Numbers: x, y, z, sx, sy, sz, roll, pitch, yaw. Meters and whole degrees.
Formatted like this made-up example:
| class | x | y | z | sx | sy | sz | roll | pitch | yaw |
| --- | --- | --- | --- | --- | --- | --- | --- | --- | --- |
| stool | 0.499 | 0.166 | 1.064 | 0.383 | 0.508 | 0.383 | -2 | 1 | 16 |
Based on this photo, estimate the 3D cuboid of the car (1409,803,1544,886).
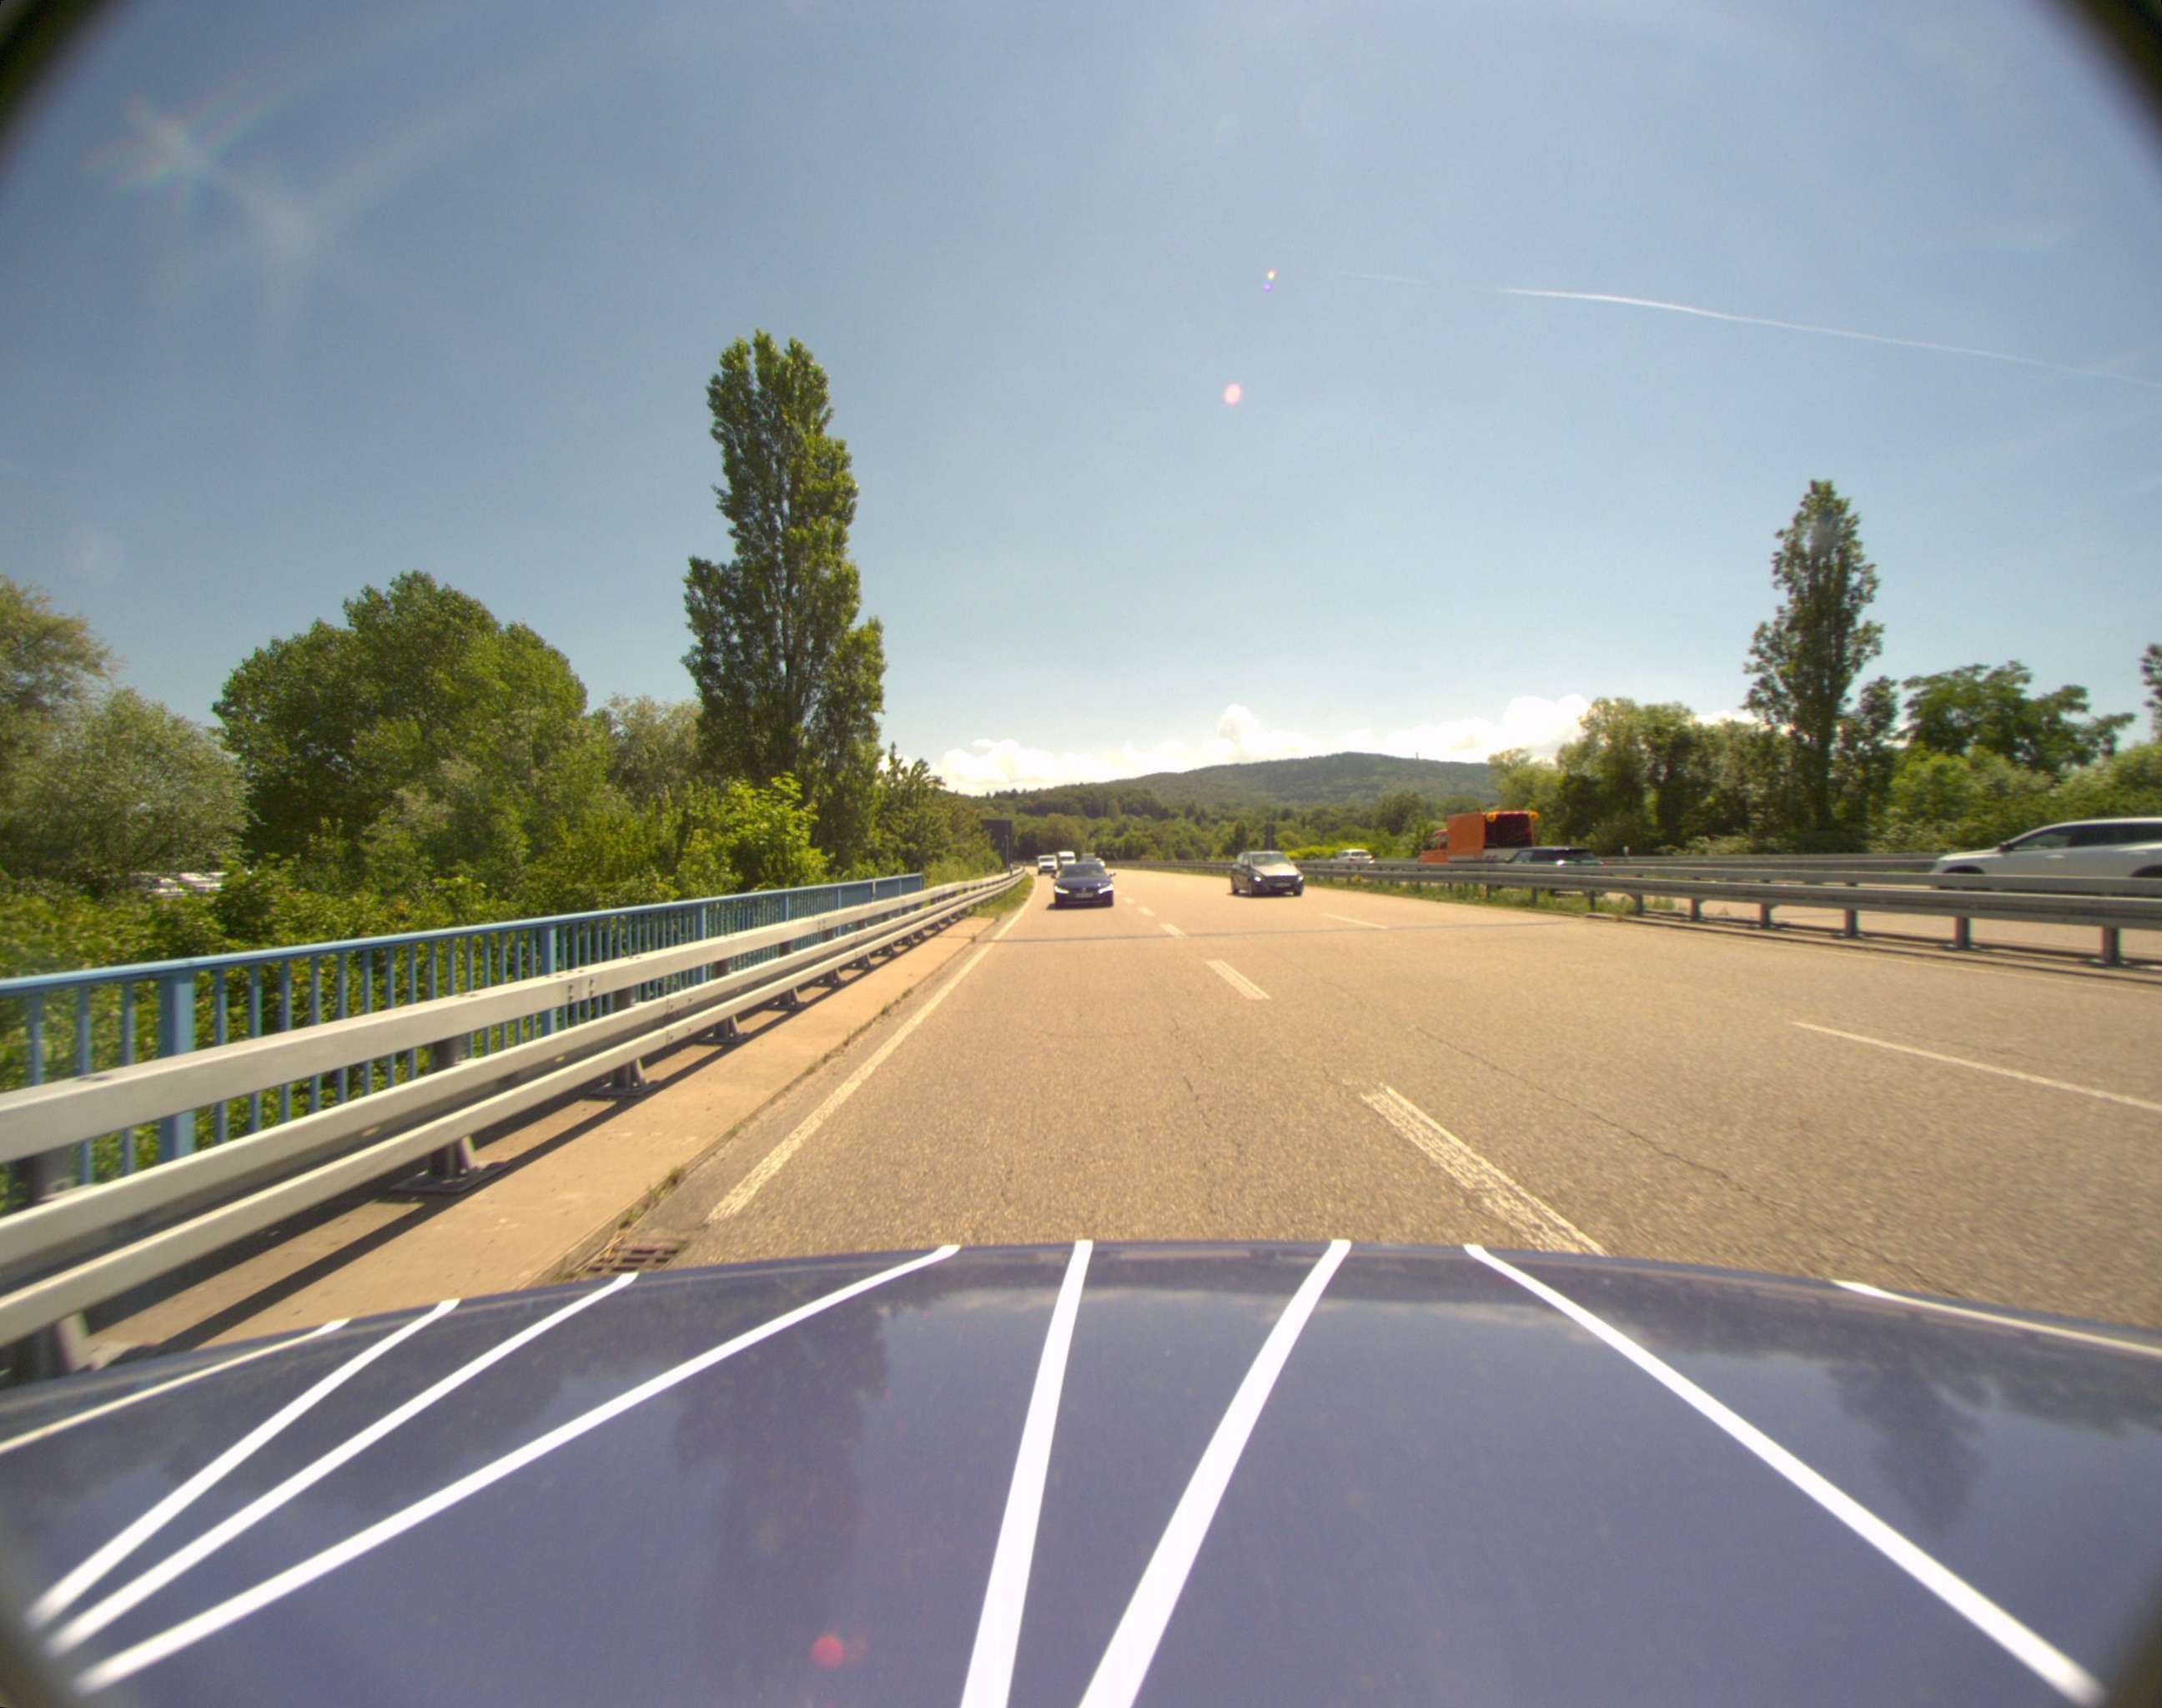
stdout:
| class | x | y | z | sx | sy | sz | roll | pitch | yaw |
| --- | --- | --- | --- | --- | --- | --- | --- | --- | --- |
| car | 17.231 | -0.391 | 33.733 | 2.311 | 3.273 | 7.027 | -1 | 0 | 0 |

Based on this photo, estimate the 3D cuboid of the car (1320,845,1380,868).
| class | x | y | z | sx | sy | sz | roll | pitch | yaw |
| --- | --- | --- | --- | --- | --- | --- | --- | --- | --- |
| car | 17.216 | 0.140 | 48.882 | 1.858 | 1.424 | 4.792 | -1 | 0 | -5 |

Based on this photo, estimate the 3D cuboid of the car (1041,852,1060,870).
| class | x | y | z | sx | sy | sz | roll | pitch | yaw |
| --- | --- | --- | --- | --- | --- | --- | --- | --- | --- |
| car | -3.196 | 0.692 | 79.444 | 1.885 | 1.724 | 4.468 | -2 | 1 | -3 |

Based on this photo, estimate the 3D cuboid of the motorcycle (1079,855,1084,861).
| class | x | y | z | sx | sy | sz | roll | pitch | yaw |
| --- | --- | --- | --- | --- | --- | --- | --- | --- | --- |
| motorcycle | 0.156 | 0.802 | 155.047 | 0.793 | 1.137 | 2.527 | -1 | 1 | -4 |

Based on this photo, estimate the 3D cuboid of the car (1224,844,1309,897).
| class | x | y | z | sx | sy | sz | roll | pitch | yaw |
| --- | --- | --- | --- | --- | --- | --- | --- | --- | --- |
| car | 6.580 | 0.530 | 27.448 | 1.798 | 1.658 | 4.553 | -3 | 0 | -1 |

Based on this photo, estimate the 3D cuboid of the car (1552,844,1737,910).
| class | x | y | z | sx | sy | sz | roll | pitch | yaw |
| --- | --- | --- | --- | --- | --- | --- | --- | --- | --- |
| car | 13.835 | 0.483 | 18.983 | 1.729 | 1.420 | 3.947 | -1 | 1 | 1 |

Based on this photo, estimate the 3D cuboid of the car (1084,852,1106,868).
| class | x | y | z | sx | sy | sz | roll | pitch | yaw |
| --- | --- | --- | --- | --- | --- | --- | --- | --- | --- |
| car | 1.342 | 0.552 | 74.402 | 1.846 | 1.400 | 4.468 | -2 | 1 | -3 |

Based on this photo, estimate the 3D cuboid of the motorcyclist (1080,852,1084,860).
| class | x | y | z | sx | sy | sz | roll | pitch | yaw |
| --- | --- | --- | --- | --- | --- | --- | --- | --- | --- |
| motorcyclist | 0.141 | 0.412 | 155.028 | 0.793 | 1.425 | 0.767 | -1 | 2 | -4 |

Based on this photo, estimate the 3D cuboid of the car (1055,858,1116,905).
| class | x | y | z | sx | sy | sz | roll | pitch | yaw |
| --- | --- | --- | --- | --- | --- | --- | --- | --- | --- |
| car | 0.252 | 0.897 | 26.715 | 1.845 | 1.399 | 4.471 | -2 | 0 | 4 |

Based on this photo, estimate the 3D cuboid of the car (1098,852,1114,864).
| class | x | y | z | sx | sy | sz | roll | pitch | yaw |
| --- | --- | --- | --- | --- | --- | --- | --- | --- | --- |
| car | 3.267 | 0.494 | 100.965 | 1.846 | 1.400 | 4.468 | -2 | 1 | -1 |

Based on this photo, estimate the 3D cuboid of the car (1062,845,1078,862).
| class | x | y | z | sx | sy | sz | roll | pitch | yaw |
| --- | --- | --- | --- | --- | --- | --- | --- | --- | --- |
| car | -1.475 | -0.091 | 99.297 | 2.008 | 1.988 | 4.578 | -2 | 1 | -1 |

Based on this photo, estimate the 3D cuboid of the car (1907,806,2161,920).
| class | x | y | z | sx | sy | sz | roll | pitch | yaw |
| --- | --- | --- | --- | --- | --- | --- | --- | --- | --- |
| car | 18.040 | 0.096 | 13.316 | 1.857 | 1.808 | 4.793 | -1 | 1 | -1 |

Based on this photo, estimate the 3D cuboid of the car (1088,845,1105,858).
| class | x | y | z | sx | sy | sz | roll | pitch | yaw |
| --- | --- | --- | --- | --- | --- | --- | --- | --- | --- |
| car | 3.247 | -0.594 | 163.960 | 2.287 | 2.758 | 7.214 | -1 | 1 | -10 |
